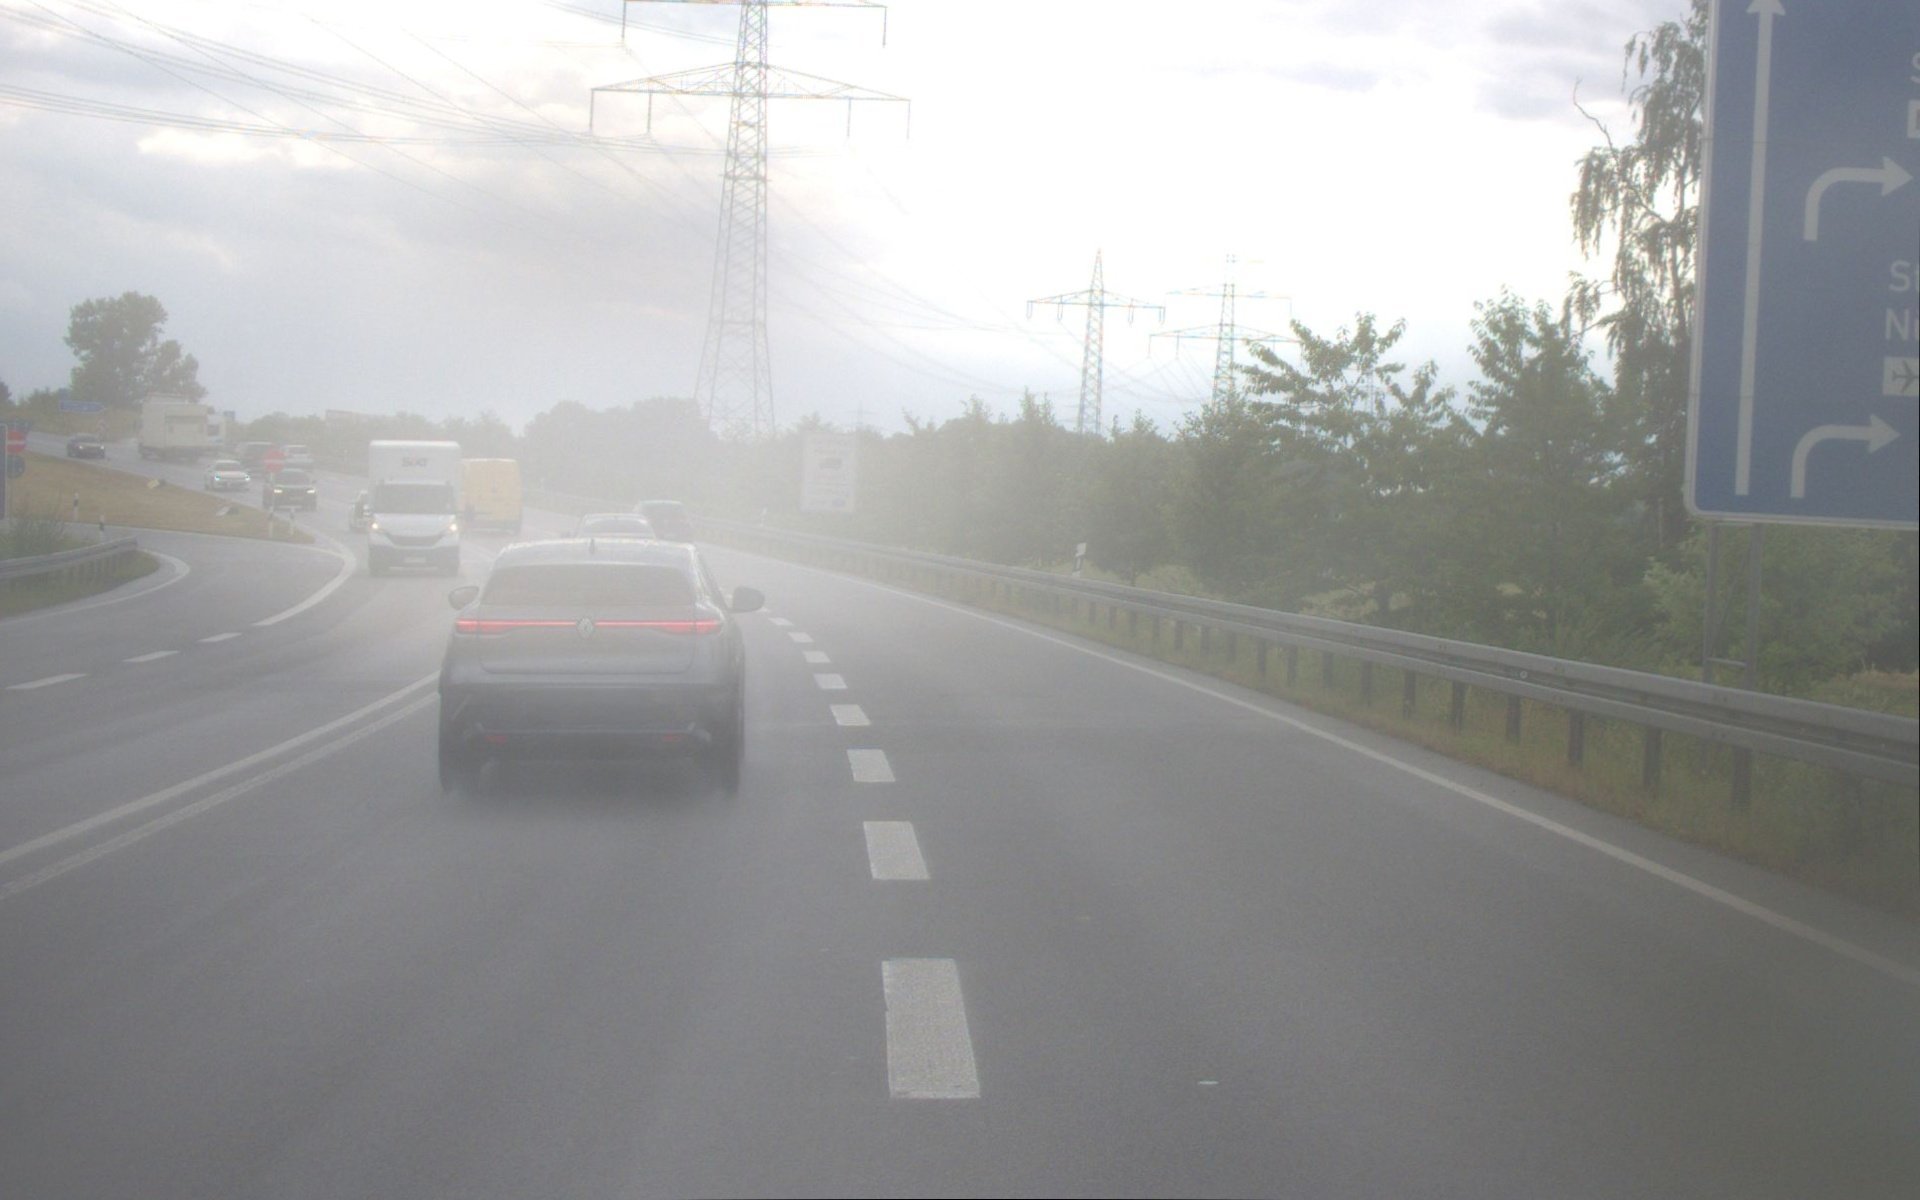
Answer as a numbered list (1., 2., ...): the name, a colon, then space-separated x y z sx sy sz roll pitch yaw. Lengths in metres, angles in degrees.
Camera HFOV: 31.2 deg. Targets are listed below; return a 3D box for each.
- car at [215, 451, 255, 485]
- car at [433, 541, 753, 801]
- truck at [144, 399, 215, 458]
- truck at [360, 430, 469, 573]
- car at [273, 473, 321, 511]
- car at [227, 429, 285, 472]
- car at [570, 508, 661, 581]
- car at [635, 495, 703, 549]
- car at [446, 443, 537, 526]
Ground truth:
1. car: -35.270 -6.414 167.116 1.799 1.569 4.261 0 1 -13
2. car: -2.215 0.365 21.394 1.791 1.436 4.001 0 1 -4
3. truck: -47.352 -10.368 208.465 3.045 3.373 7.647 1 2 -21
4. truck: -12.537 -2.260 79.368 2.255 3.145 6.691 0 1 -7
5. car: -27.494 -4.471 142.706 1.799 1.569 4.261 0 1 -9
6. car: -38.274 -8.111 186.831 2.601 2.242 5.537 1 2 -17
7. car: -7.075 -1.133 70.355 1.791 1.436 4.001 0 1 -6
8. car: -8.655 -2.309 102.131 1.791 1.536 4.001 1 1 -8
9. car: -16.054 -3.909 117.553 2.572 2.716 7.198 0 1 -12
